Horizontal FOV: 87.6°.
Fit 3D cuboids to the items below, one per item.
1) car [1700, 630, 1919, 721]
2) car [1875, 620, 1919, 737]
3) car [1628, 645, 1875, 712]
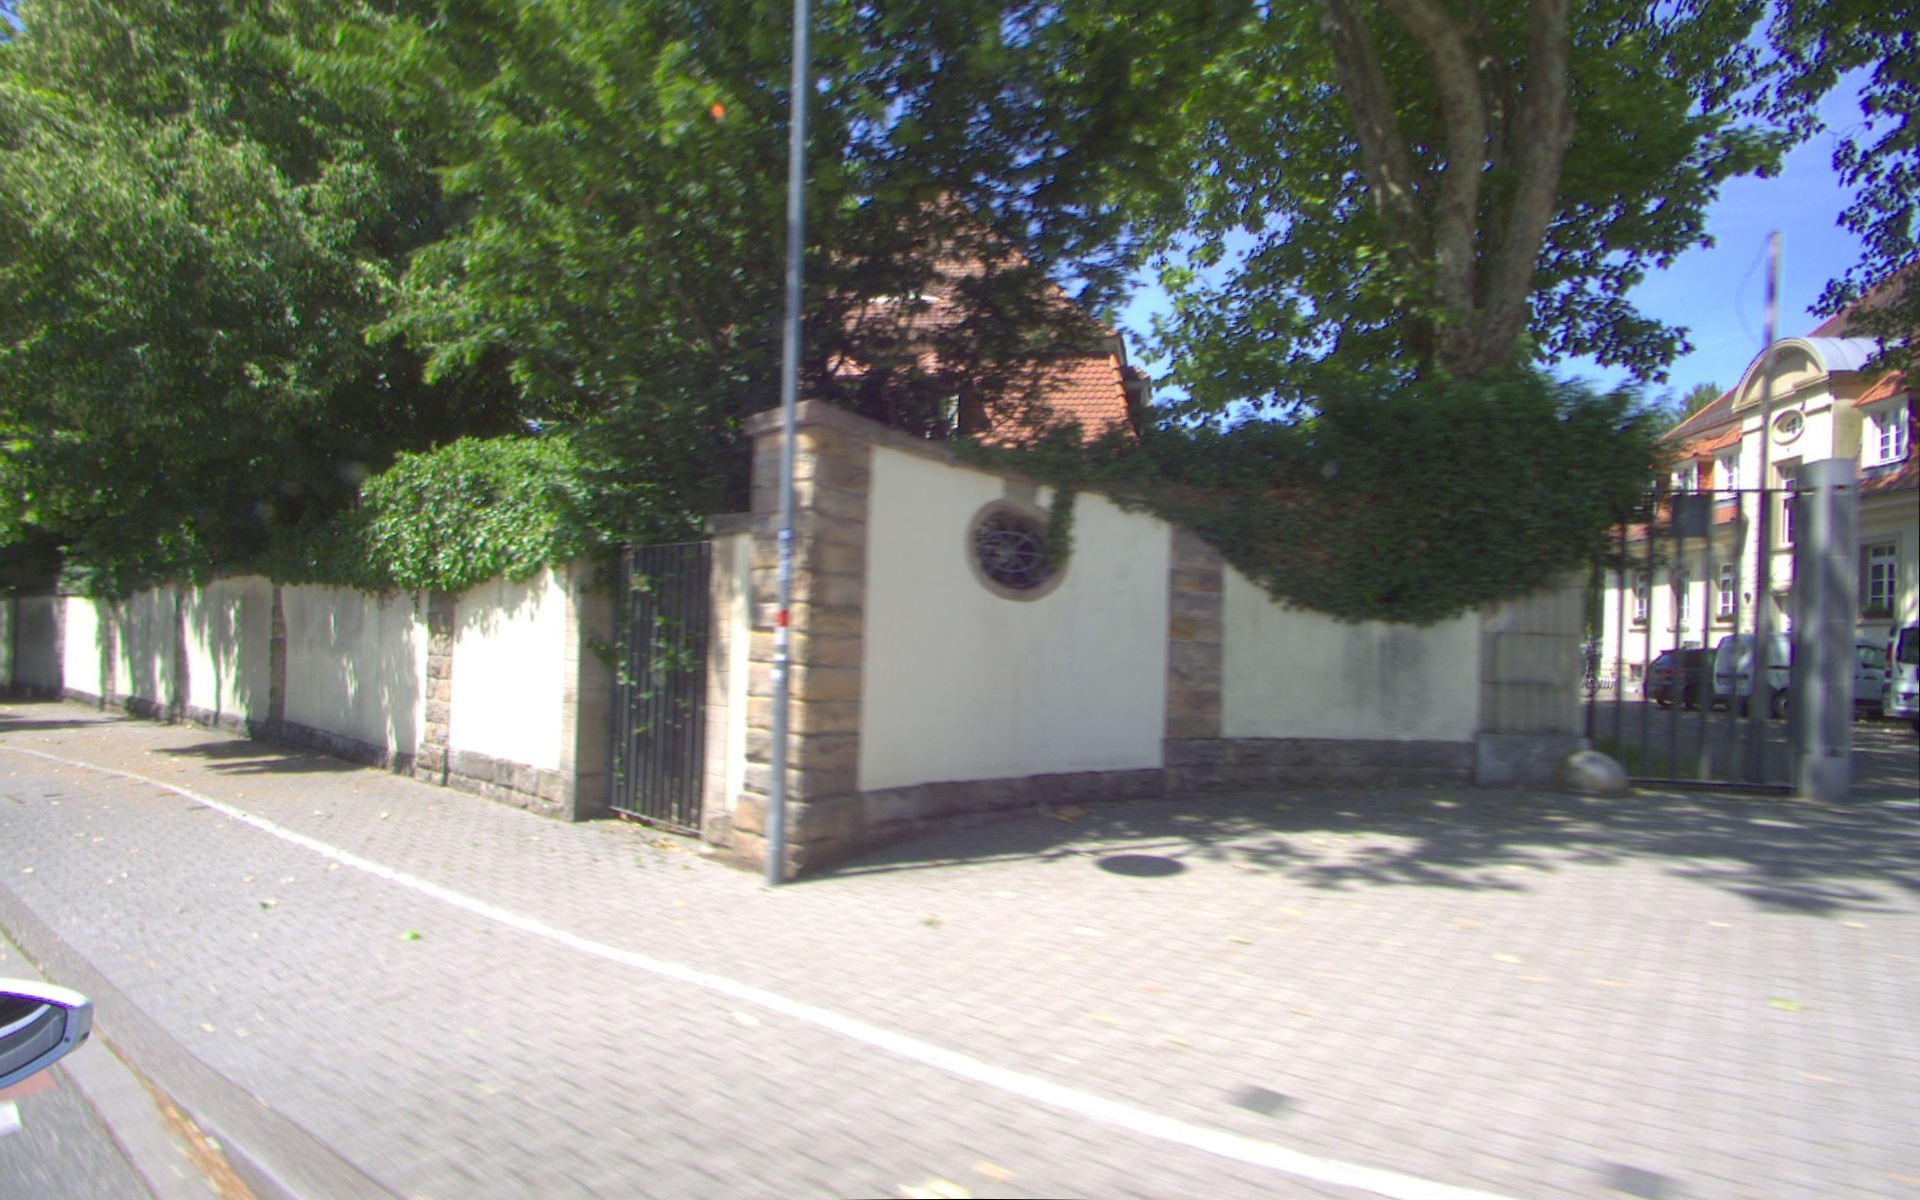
[{"bbox_3d":[18.489,1.561,21.131,4.248,1.834,1.843,0,-2,6],"label":"car"},{"bbox_3d":[17.970,1.268,15.936,4.771,1.910,1.977,0,-2,6],"label":"car"},{"bbox_3d":[18.650,1.831,23.765,4.248,1.503,1.812,0,-2,7],"label":"car"}]
